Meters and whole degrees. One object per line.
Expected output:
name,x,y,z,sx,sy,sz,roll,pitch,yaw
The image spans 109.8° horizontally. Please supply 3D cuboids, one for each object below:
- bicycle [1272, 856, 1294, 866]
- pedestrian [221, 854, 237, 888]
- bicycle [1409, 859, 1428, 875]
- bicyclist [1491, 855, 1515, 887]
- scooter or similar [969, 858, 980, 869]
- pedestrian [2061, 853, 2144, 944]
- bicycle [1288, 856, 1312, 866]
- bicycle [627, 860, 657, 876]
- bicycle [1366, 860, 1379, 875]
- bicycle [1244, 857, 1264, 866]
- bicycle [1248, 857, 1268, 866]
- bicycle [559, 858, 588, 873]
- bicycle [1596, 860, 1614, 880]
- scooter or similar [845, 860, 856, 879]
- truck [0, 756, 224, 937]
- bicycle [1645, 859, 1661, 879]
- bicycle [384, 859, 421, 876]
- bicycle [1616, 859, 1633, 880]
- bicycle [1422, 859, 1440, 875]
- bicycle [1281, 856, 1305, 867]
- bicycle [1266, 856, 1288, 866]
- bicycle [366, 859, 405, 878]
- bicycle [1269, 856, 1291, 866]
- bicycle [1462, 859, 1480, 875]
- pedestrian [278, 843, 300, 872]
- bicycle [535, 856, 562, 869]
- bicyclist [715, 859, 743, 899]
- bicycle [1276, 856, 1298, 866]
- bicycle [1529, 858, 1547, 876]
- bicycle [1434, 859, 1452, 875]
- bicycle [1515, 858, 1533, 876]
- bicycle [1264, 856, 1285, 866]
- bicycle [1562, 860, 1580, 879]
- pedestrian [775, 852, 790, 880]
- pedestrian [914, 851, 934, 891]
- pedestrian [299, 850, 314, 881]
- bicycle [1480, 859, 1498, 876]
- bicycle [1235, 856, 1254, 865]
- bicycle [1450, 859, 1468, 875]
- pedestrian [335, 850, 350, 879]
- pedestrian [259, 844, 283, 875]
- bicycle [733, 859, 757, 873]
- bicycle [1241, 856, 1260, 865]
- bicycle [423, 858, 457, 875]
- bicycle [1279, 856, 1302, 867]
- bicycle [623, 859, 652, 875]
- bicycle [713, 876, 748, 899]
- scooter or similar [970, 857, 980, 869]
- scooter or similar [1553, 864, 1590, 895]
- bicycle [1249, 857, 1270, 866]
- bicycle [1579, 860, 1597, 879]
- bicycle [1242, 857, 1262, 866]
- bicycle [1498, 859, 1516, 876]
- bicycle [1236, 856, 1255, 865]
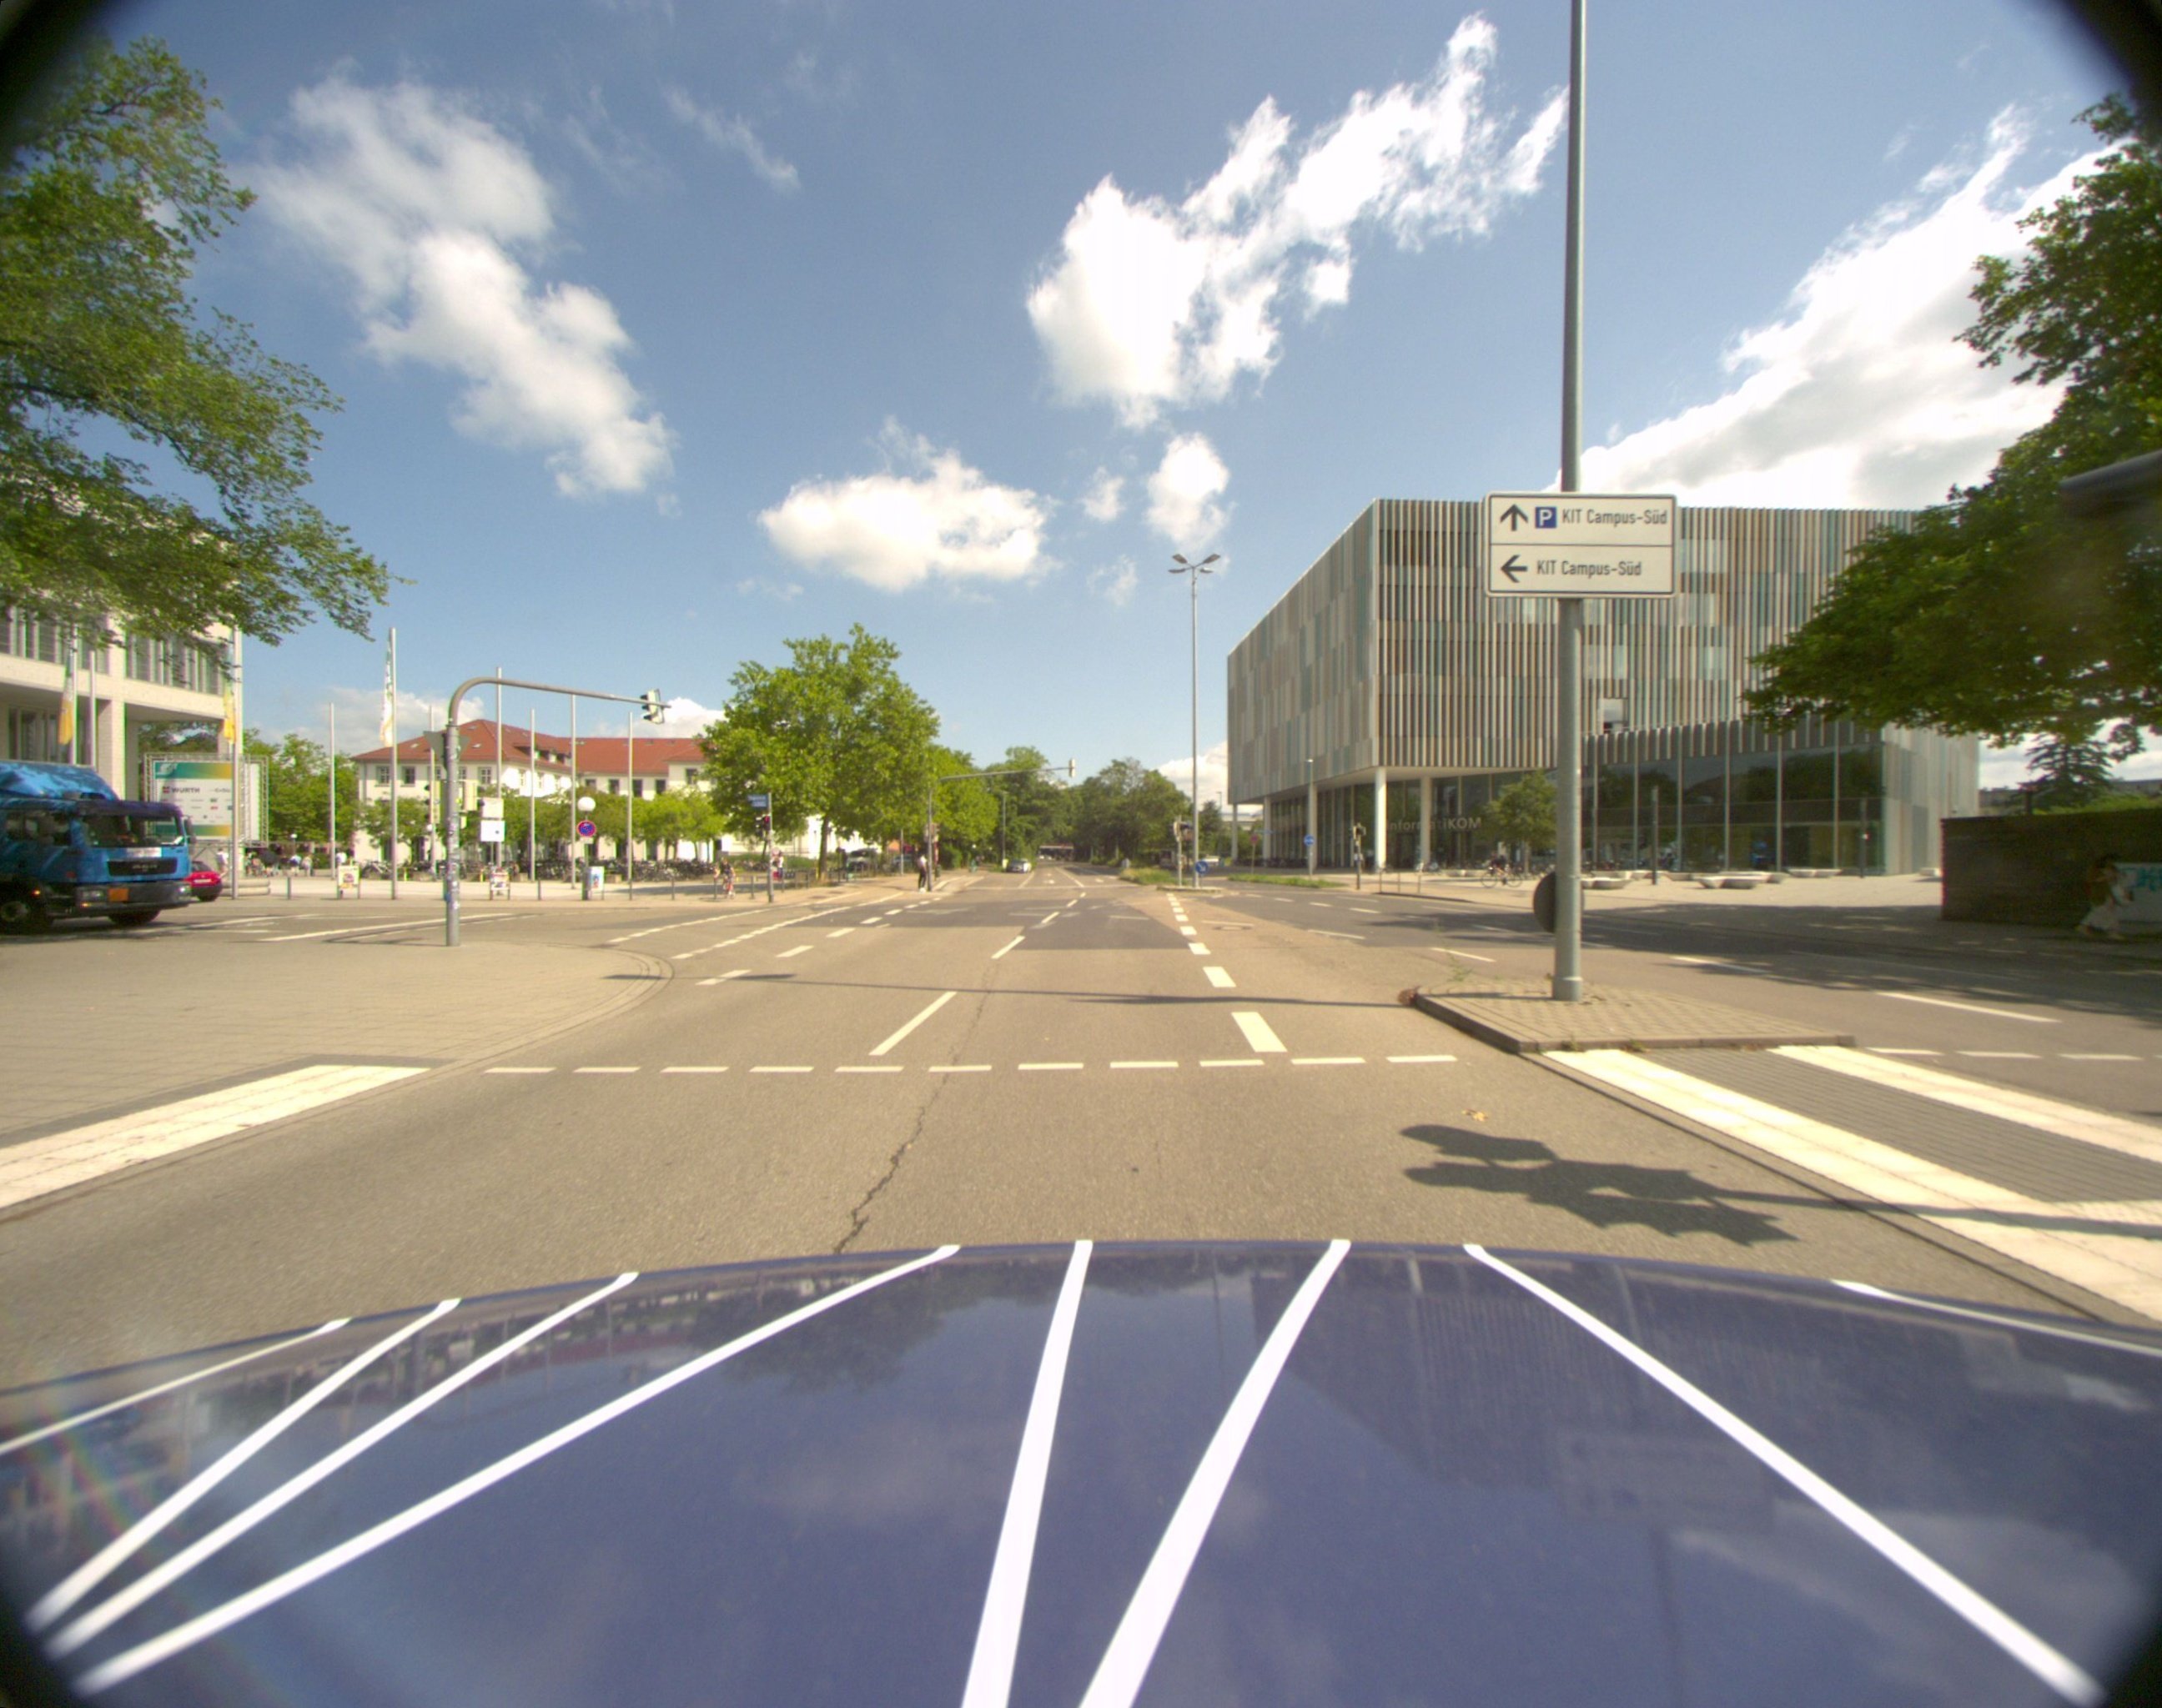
bicycle,21.800,0.792,82.102,2.218,1.090,0.722,0,0,-7
pedestrian,-45.391,0.886,40.484,0.484,1.796,0.442,0,1,27
bicycle,24.188,0.919,54.400,0.720,1.090,2.223,0,0,37
bicyclist,19.445,0.755,35.038,0.944,1.456,0.633,0,1,32
scooter or similar,-10.243,0.919,73.238,0.517,1.065,1.371,0,0,14
pedestrian,18.975,0.808,14.123,0.562,1.641,0.727,0,1,-5
bicycle,22.285,0.710,77.460,2.218,1.090,0.755,0,0,-7
bicycle,-31.189,0.989,53.987,1.673,1.090,0.626,0,0,-7
bicycle,21.987,1.035,57.318,0.547,1.090,1.635,0,0,10
bicycle,20.899,0.882,91.643,2.218,1.090,0.722,0,0,-7
bicycle,21.081,0.902,90.623,2.218,1.090,0.722,0,0,-7
bicycle,-37.471,0.866,56.126,1.673,1.090,0.626,0,0,-7
bicycle,31.740,0.934,45.990,0.745,1.183,2.323,0,0,38
scooter or similar,-13.970,0.942,46.102,0.348,1.122,1.168,0,0,-1
truck,-26.501,-0.203,17.248,10.139,3.860,2.777,0,2,-5
bicycle,33.472,0.861,44.457,0.720,1.090,2.223,0,0,37
bicycle,-42.368,0.841,47.452,1.673,1.090,0.626,0,0,-7
bicycle,32.501,0.917,45.416,0.745,1.183,2.323,0,0,38
bicycle,24.881,0.906,54.022,0.720,1.090,2.223,0,0,37
bicycle,21.869,0.736,78.437,2.218,1.090,0.722,0,0,-7
bicycle,21.651,0.802,84.003,2.218,1.090,0.722,0,0,-7
bicycle,-42.110,0.867,46.015,1.673,1.090,0.626,0,0,-7
bicycle,21.745,0.788,83.060,2.218,1.090,0.722,0,0,-7
bicycle,26.857,0.897,52.369,0.720,1.090,2.223,0,0,37
pedestrian,-50.558,0.223,48.500,0.695,1.837,0.642,0,0,-13
bicycle,-43.312,0.702,61.837,1.673,1.090,0.626,0,0,-7
bicyclist,-13.415,0.930,28.970,0.916,1.498,0.614,0,1,40
bicycle,21.957,0.770,81.046,2.218,1.090,0.722,0,0,-8
bicycle,29.454,0.833,48.944,0.720,1.090,2.223,0,0,37
bicycle,25.551,0.915,53.594,0.720,1.090,2.223,0,0,37
bicycle,28.817,0.836,49.408,0.720,1.090,2.223,0,0,37
bicycle,21.673,0.805,85.037,2.218,1.090,0.722,0,0,-7
bicycle,30.596,0.956,47.426,0.745,1.183,2.323,0,0,38
pedestrian,-17.760,0.694,45.171,0.640,1.640,0.740,-1,1,-36
pedestrian,-7.443,0.797,35.994,0.701,1.815,0.942,2,1,-1
pedestrian,-47.424,0.699,46.535,0.532,1.836,0.515,0,1,30
bicycle,27.238,0.864,50.759,0.720,1.090,2.223,0,0,37
bicycle,21.188,0.861,98.543,2.218,1.090,0.722,0,0,-7
bicycle,26.282,0.909,52.865,0.720,1.090,2.223,0,0,37
pedestrian,-47.462,0.689,48.816,0.532,1.836,0.515,0,1,30
pedestrian,-49.618,0.342,46.523,0.693,1.837,0.805,0,0,24
bicycle,-27.927,0.995,63.130,1.673,1.090,0.626,0,0,-7
bicycle,20.794,0.851,93.337,2.218,1.090,0.722,0,0,-7
bicycle,-42.590,0.847,50.507,1.673,1.090,0.626,0,0,-7
bicycle,22.114,0.772,80.151,2.218,1.090,0.735,0,0,-7
bicycle,-31.021,0.889,53.146,1.673,1.090,0.626,0,0,-7
bicycle,-13.369,1.270,28.941,1.510,0.828,0.621,0,1,40
scooter or similar,-9.859,0.829,70.690,0.518,1.071,1.441,0,0,6
scooter or similar,19.124,0.993,29.620,1.505,1.150,0.502,0,0,-27
bicycle,21.023,0.904,89.504,2.218,1.090,0.722,0,0,-7
bicycle,31.305,0.941,46.873,0.745,1.183,2.323,0,0,38
bicycle,20.850,0.869,92.569,2.218,1.083,0.722,0,0,-7
bicycle,28.053,0.858,50.046,0.720,1.090,2.223,0,0,37
bicycle,21.019,0.865,97.055,2.218,1.090,0.722,0,0,-7
